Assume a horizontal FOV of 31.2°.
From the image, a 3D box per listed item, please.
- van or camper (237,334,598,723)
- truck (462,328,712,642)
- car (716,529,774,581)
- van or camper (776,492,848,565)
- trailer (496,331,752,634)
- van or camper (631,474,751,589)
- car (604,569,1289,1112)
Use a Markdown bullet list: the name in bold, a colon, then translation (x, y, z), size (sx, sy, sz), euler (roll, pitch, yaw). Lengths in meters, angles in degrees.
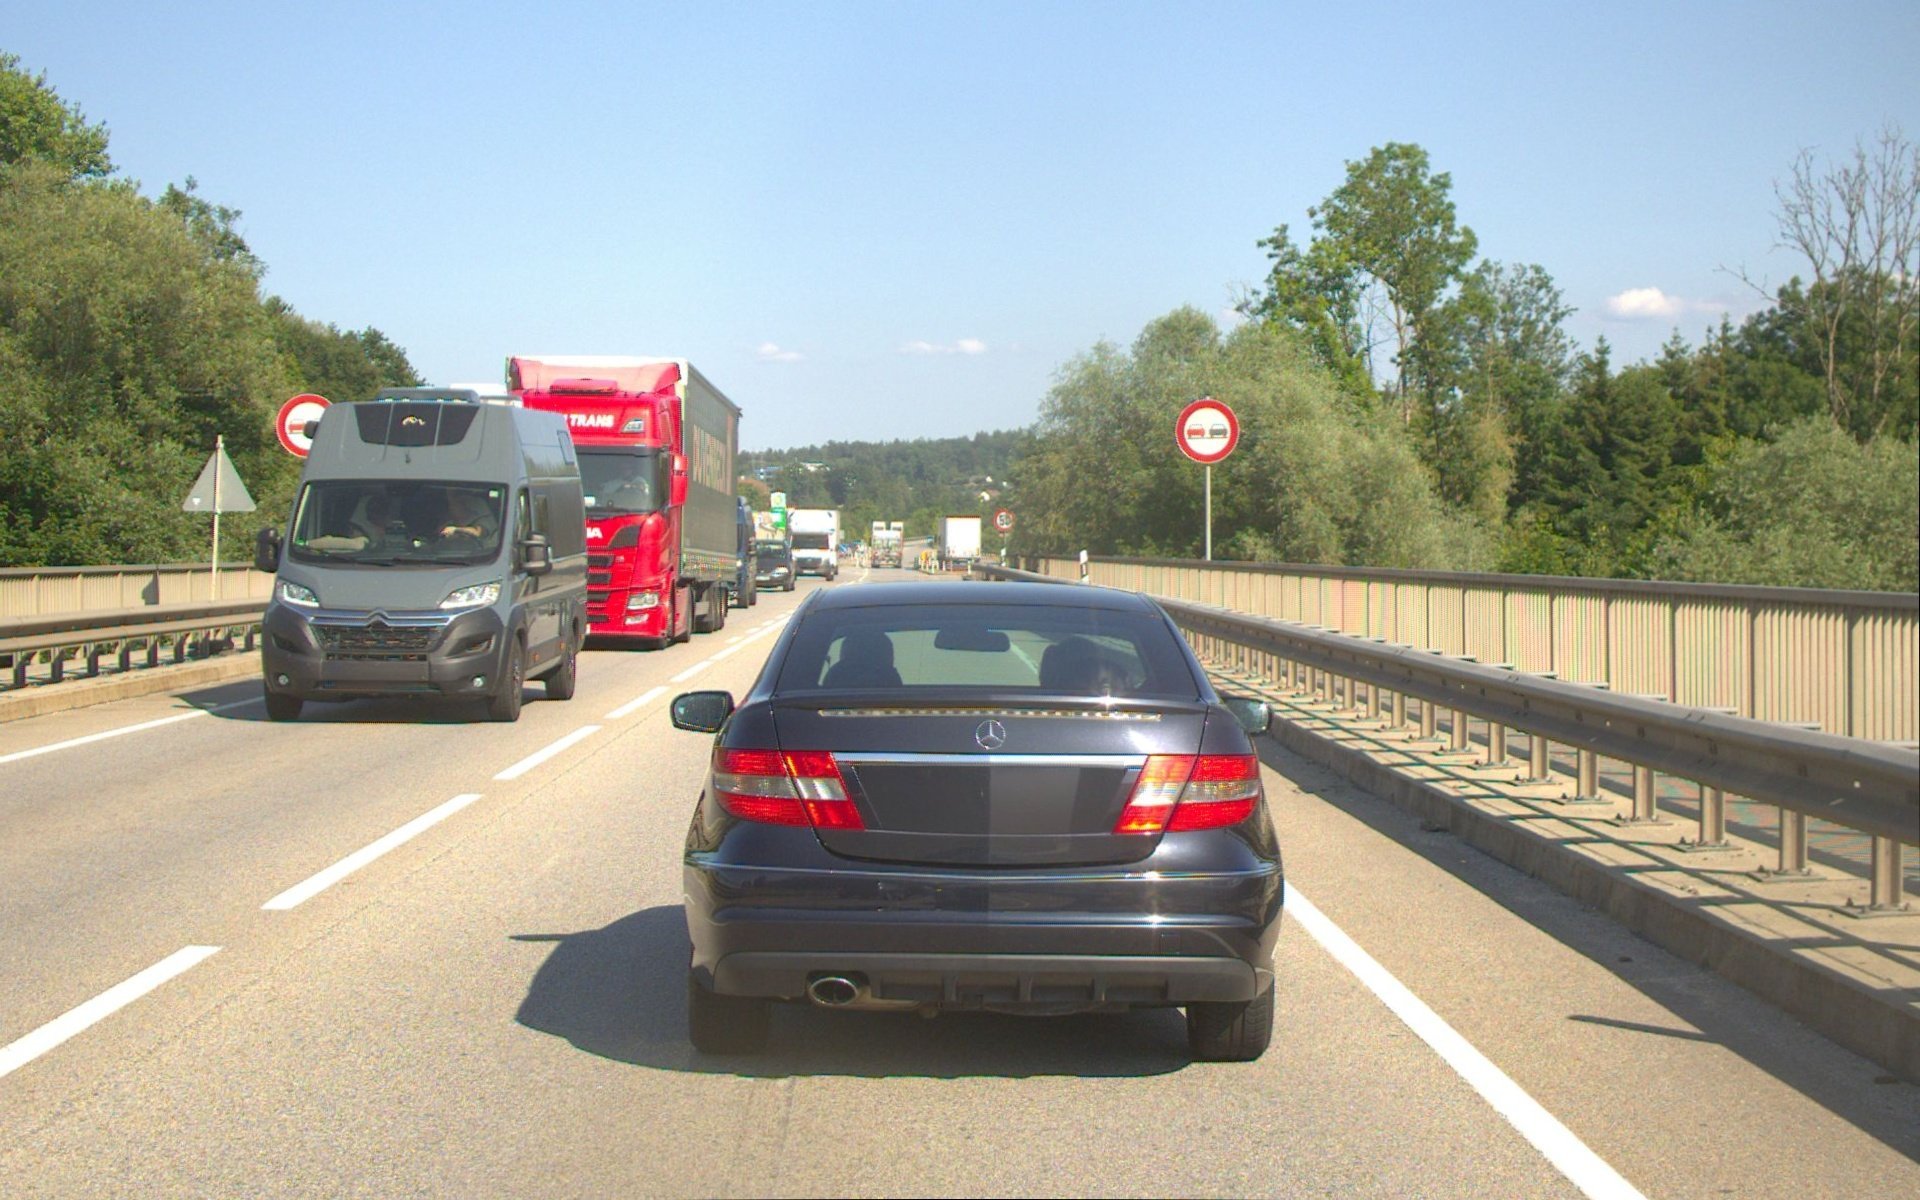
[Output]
- **van or camper**: translation (-4.654, -0.636, 30.633), size (2.315, 3.040, 6.818), euler (1, 1, -2)
- **truck**: translation (-5.207, -1.600, 48.934), size (2.908, 4.170, 5.713), euler (1, 1, 0)
- **car**: translation (-7.018, -1.493, 111.920), size (1.841, 1.636, 4.578), euler (1, 1, -4)
- **van or camper**: translation (-6.761, -3.264, 157.873), size (2.635, 3.244, 7.749), euler (1, 1, 2)
- **trailer**: translation (-5.243, -1.825, 56.346), size (2.907, 4.287, 14.303), euler (1, 1, -1)
- **van or camper**: translation (-6.407, -1.643, 82.499), size (2.430, 2.633, 6.405), euler (1, 1, -1)
- **car**: translation (-0.027, 0.613, 11.018), size (1.793, 1.371, 4.000), euler (0, 1, 0)
